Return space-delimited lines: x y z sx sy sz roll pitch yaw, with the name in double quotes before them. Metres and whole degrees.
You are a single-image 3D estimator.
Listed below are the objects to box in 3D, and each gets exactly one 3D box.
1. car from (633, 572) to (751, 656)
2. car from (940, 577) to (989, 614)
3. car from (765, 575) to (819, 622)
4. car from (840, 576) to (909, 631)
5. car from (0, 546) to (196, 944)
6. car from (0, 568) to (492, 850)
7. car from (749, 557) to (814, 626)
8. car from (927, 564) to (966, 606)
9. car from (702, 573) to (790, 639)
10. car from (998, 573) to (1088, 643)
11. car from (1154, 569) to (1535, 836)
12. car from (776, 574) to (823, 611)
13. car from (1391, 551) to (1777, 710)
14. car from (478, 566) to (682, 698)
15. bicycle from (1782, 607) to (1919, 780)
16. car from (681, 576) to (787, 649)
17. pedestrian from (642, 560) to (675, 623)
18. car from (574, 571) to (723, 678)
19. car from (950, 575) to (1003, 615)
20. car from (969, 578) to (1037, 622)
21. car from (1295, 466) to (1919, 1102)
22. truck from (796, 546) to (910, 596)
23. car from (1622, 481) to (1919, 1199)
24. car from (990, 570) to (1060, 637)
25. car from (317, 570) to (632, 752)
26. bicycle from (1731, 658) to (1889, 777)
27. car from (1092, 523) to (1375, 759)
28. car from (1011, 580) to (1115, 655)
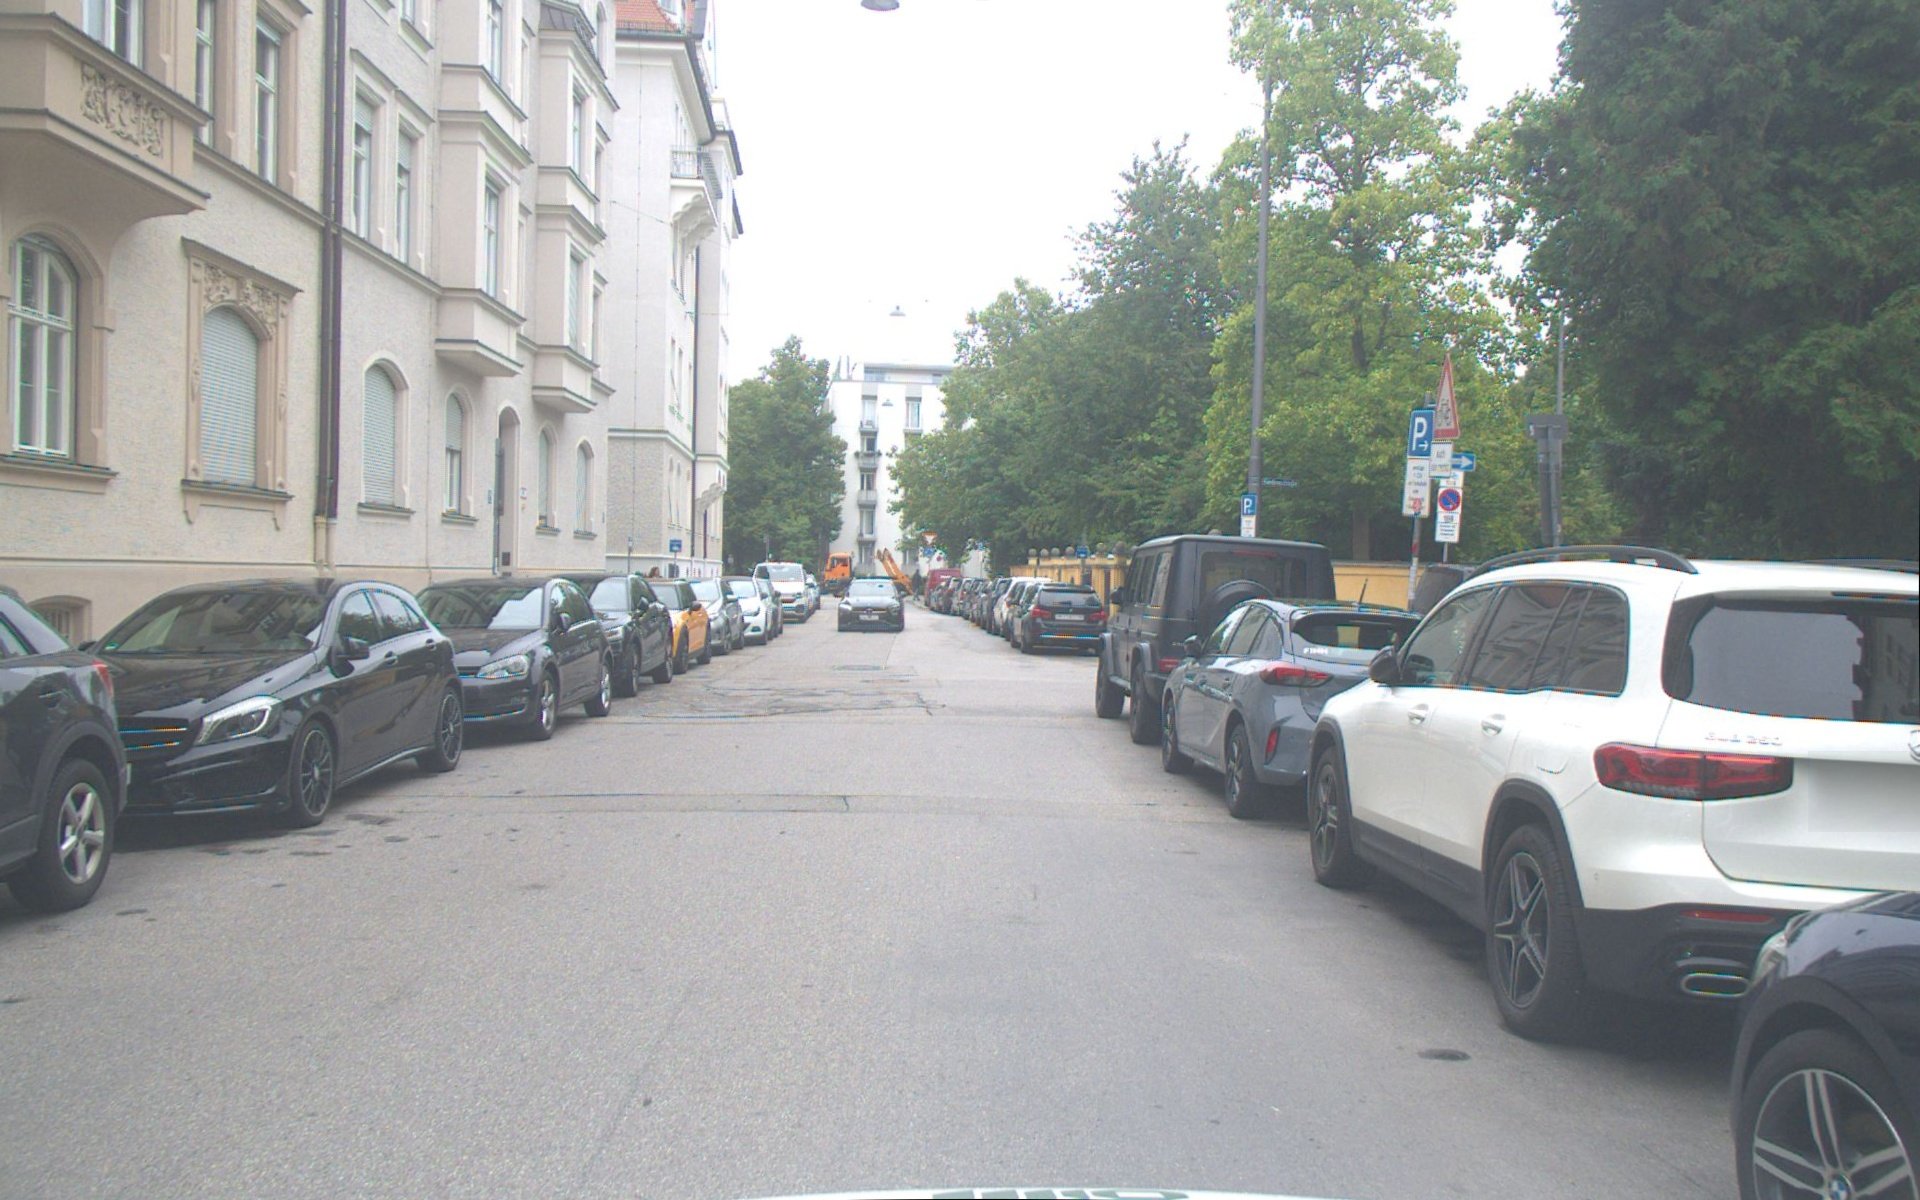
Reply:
"car" -5.134 0.239 32.150 1.690 1.526 3.930 0 0 -1
"car" 0.175 -0.203 73.459 1.802 1.545 3.944 2 0 -5
"car" -6.815 -0.092 67.440 1.975 1.756 4.272 -2 1 -3
"car" -2.456 0.059 46.947 1.837 1.453 4.406 1 1 -4
"car" -4.591 0.598 6.016 1.735 1.544 4.383 -2 1 -3
"car" -4.577 0.531 10.977 1.797 1.459 4.552 -1 1 -2
"car" -5.958 -0.312 55.529 1.849 2.164 4.704 -2 1 -3
"car" -0.683 -0.796 85.161 1.799 1.960 4.005 4 1 1
"car" -5.353 0.109 41.856 1.800 1.525 4.273 -2 1 -3
"car" 1.965 0.168 40.069 1.620 1.545 3.791 2 0 -5
"car" 2.597 0.627 12.036 1.689 1.545 3.629 4 0 -3
"car" -7.655 -0.385 79.137 1.975 1.662 4.411 -2 1 -3
"car" 8.263 0.375 22.119 4.444 1.984 1.901 0 2 -8
"car" -4.794 0.337 21.409 1.717 1.526 4.018 -1 1 -1
"bicycle" 6.442 0.627 11.478 0.505 1.114 1.347 1 1 -19
"car" -4.992 0.235 37.050 1.799 1.463 4.274 -2 1 -1
"pedestrian" -8.255 -0.239 45.306 0.776 1.708 0.700 1 0 -3
"car" -4.915 0.327 26.582 1.607 1.525 3.972 -2 1 0
"car" 0.664 -0.200 69.293 1.802 1.545 3.944 2 0 -5
"car" 1.403 -0.004 55.543 1.802 1.369 3.944 2 0 -5
"car" 2.787 0.557 7.036 1.688 1.799 4.412 4 0 -1
"truck" -7.488 -1.997 115.433 7.541 3.297 2.888 1 1 -15
"car" 2.768 0.659 2.127 1.716 1.638 4.420 3 1 -5
"car" 1.719 0.083 44.792 1.484 1.690 3.671 2 0 -4
"car" -4.506 0.475 16.033 1.799 1.461 4.244 -2 1 -1
"bicycle" 6.494 0.877 12.702 0.502 0.795 1.354 1 1 0
"car" 2.594 0.295 16.875 1.911 1.988 4.665 3 2 -2
"car" 2.119 0.342 35.062 1.801 1.438 4.341 2 0 -1
